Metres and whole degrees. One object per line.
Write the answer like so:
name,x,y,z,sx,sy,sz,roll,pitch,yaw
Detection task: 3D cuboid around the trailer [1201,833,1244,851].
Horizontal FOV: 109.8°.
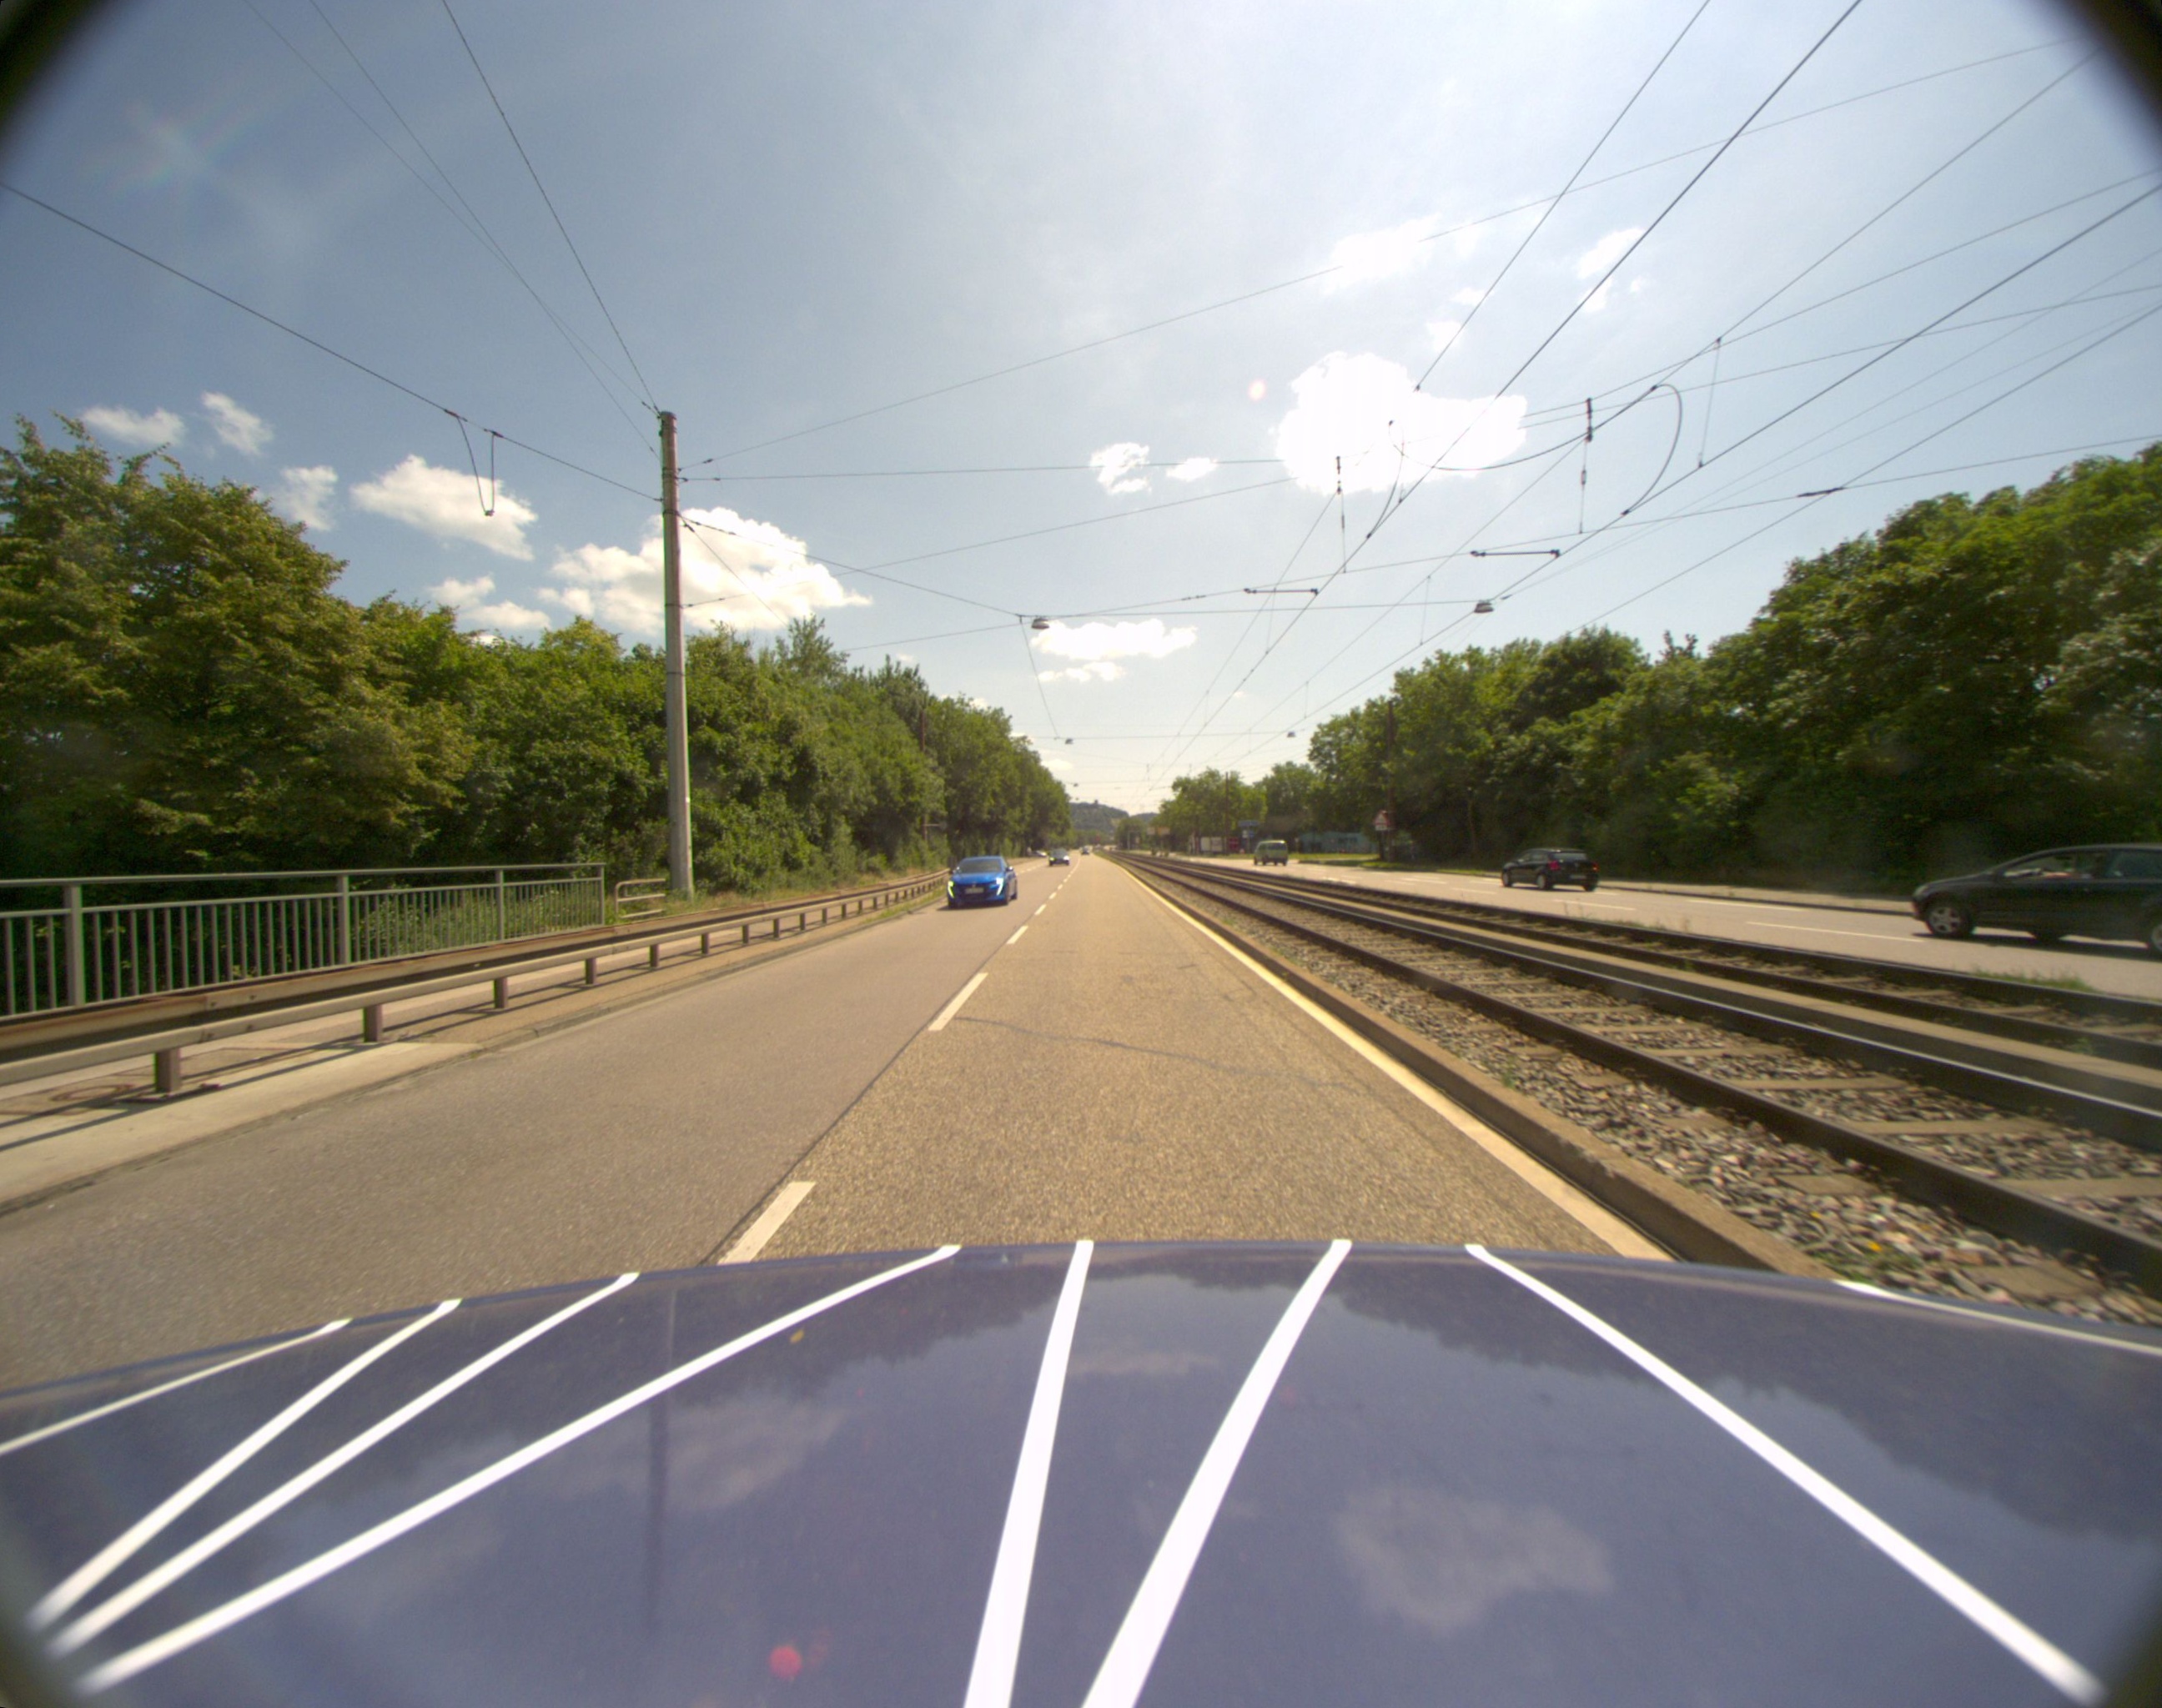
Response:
trailer,30.367,-2.528,163.798,3.392,3.633,12.087,-1,0,-20

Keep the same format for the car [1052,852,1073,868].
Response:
car,-1.665,0.547,69.464,1.769,1.359,3.743,-2,1,1

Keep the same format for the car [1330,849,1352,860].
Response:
car,44.424,0.109,129.757,1.567,1.781,3.392,-1,1,-25

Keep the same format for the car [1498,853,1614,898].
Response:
car,16.034,0.678,25.901,1.567,1.339,3.928,0,1,1

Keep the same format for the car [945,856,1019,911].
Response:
car,-2.890,0.830,22.872,1.660,1.397,3.743,-2,1,0

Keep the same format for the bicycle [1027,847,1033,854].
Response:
bicycle,-7.906,-0.523,118.699,0.710,1.131,2.538,-1,0,2

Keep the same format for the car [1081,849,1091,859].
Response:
car,1.052,-0.077,162.219,1.998,2.002,3.999,-2,1,0

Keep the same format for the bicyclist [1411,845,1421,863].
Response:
bicyclist,27.068,0.004,61.407,0.570,1.360,0.631,-2,2,7

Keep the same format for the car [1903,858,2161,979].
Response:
car,13.983,0.803,10.232,1.578,1.392,3.937,-1,1,1

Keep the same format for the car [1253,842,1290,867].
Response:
car,15.025,-0.018,60.182,1.816,1.914,5.178,0,1,1

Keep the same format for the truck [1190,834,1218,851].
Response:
truck,27.622,-2.574,170.948,3.422,3.680,6.747,-1,0,-20

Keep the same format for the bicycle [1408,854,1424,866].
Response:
bicycle,27.094,0.488,61.460,0.587,0.814,2.069,-3,2,6
